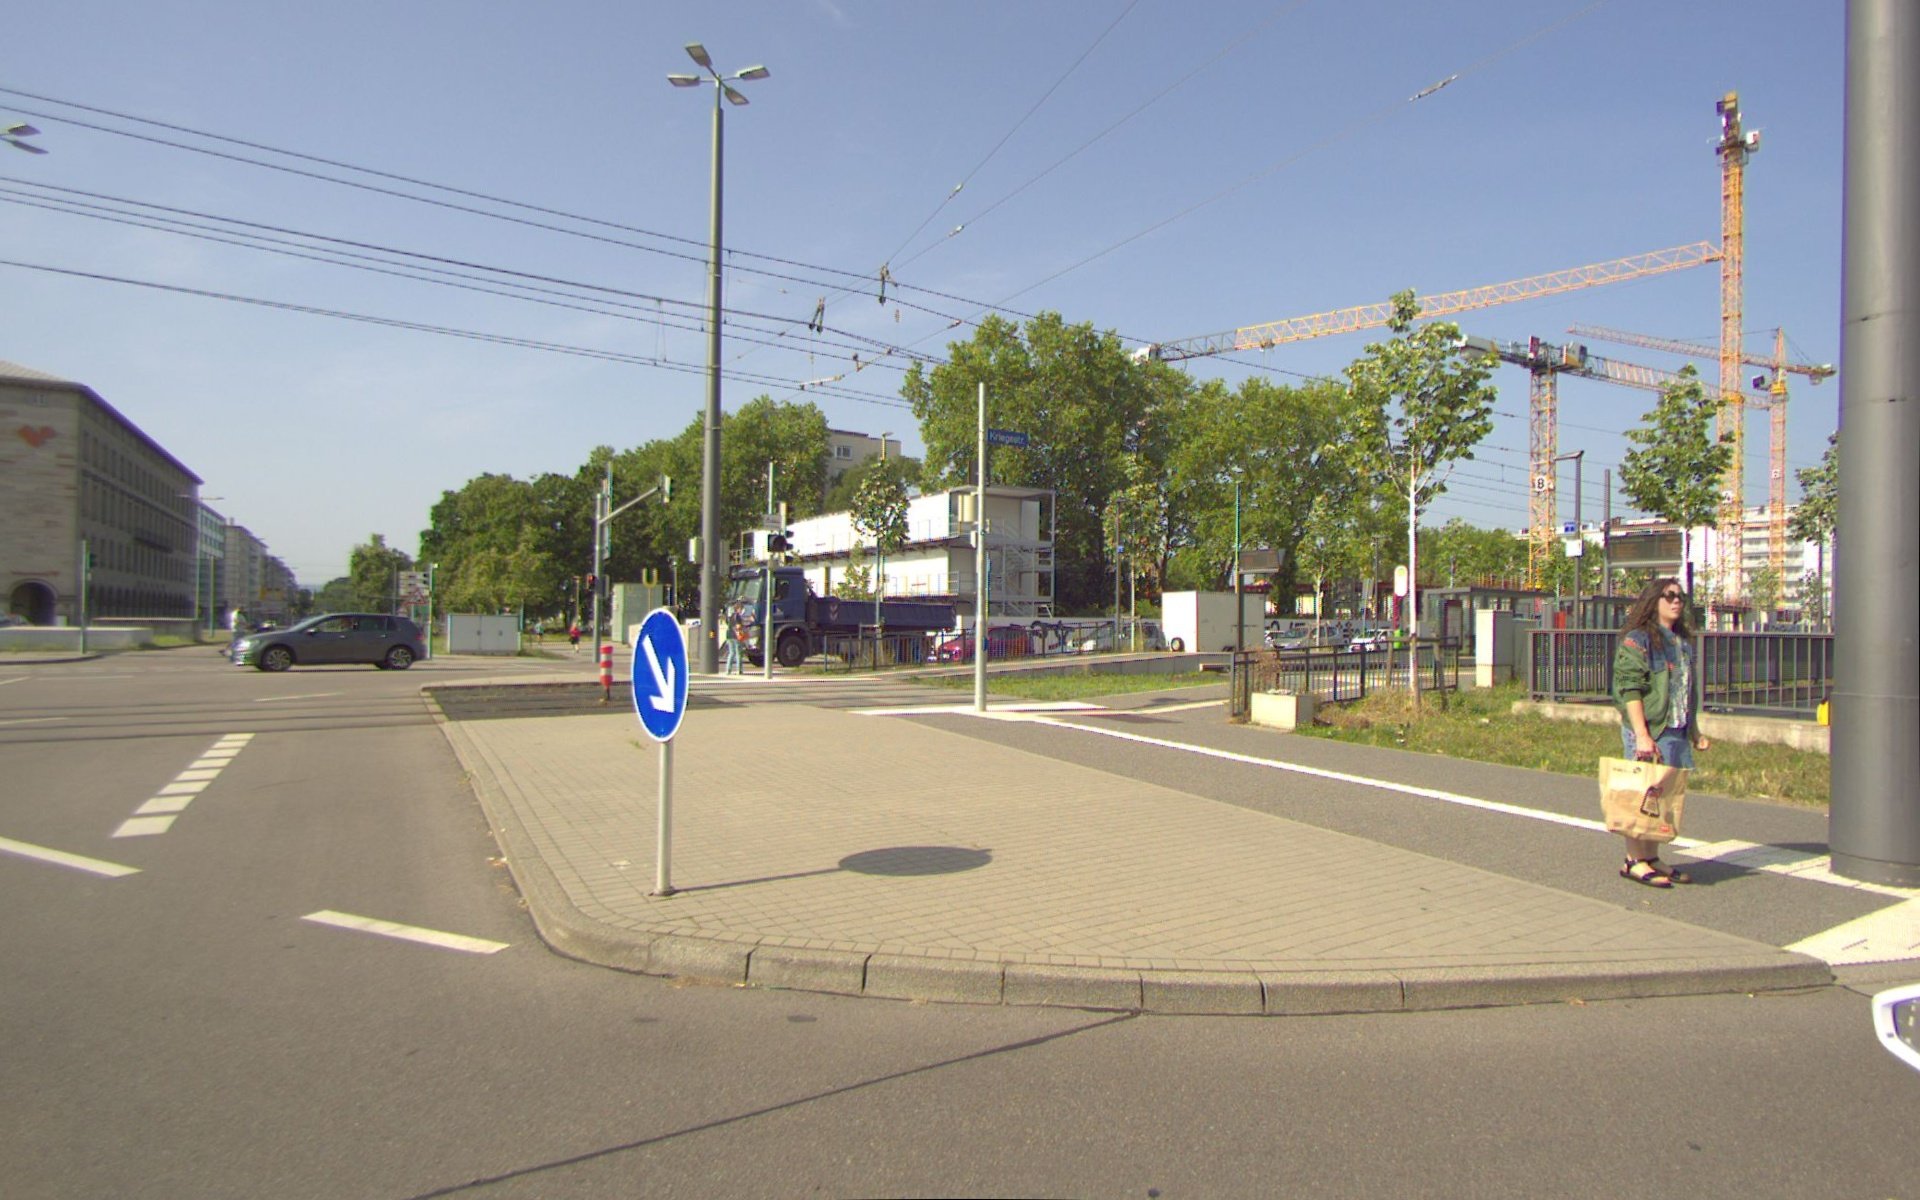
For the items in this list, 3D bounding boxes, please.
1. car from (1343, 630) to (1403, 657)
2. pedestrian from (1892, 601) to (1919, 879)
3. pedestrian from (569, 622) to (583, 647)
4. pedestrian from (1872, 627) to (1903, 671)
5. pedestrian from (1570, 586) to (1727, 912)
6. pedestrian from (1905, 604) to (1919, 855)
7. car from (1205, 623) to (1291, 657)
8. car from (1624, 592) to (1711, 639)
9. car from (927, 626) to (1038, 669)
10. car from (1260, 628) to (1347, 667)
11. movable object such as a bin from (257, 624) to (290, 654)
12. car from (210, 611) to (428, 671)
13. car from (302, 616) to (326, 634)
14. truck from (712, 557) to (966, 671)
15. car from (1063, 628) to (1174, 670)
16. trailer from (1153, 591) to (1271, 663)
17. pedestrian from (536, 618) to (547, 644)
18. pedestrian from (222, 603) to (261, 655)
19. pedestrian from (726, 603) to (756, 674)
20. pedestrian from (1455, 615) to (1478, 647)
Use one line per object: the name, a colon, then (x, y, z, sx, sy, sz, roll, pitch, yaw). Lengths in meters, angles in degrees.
car: (23.744, 2.518, 57.695, 3.400, 1.483, 1.586, 2, -1, -35)
pedestrian: (6.153, 0.849, 6.171, 0.770, 1.672, 0.464, 1, 0, -35)
pedestrian: (-19.713, 1.762, 51.551, 0.532, 1.233, 0.440, 2, 0, -33)
pedestrian: (35.407, 1.870, 38.352, 0.704, 1.640, 0.730, 2, -1, -36)
pedestrian: (3.819, 0.771, 5.565, 0.770, 1.672, 0.464, 1, 0, -35)
pedestrian: (6.828, 0.875, 6.801, 0.770, 1.672, 0.464, 1, 0, -35)
car: (14.430, 2.009, 50.259, 4.574, 1.603, 1.779, 2, -1, -37)
car: (58.190, 1.327, 82.468, 9.145, 3.559, 3.033, 2, -1, -36)
car: (0.817, 1.647, 35.136, 3.667, 1.379, 1.707, 2, -1, -39)
car: (15.853, 2.161, 46.310, 4.109, 1.684, 1.709, 2, -1, -35)
movable object such as a bin: (-24.089, 1.375, 35.242, 0.898, 1.027, 0.561, 2, -1, -32)
car: (-15.937, 0.997, 25.116, 4.391, 1.365, 1.581, 2, -1, -42)
car: (-64.254, 2.493, 99.911, 1.866, 1.741, 3.966, 2, -1, -31)
truck: (-4.143, 0.559, 36.079, 8.815, 3.634, 2.997, 2, -1, -39)
car: (6.118, 1.851, 38.538, 4.362, 1.489, 1.631, 2, -1, -37)
trailer: (10.679, 1.153, 42.371, 4.973, 2.818, 2.030, 2, 0, -36)
pedestrian: (-28.081, 2.091, 67.330, 0.535, 1.731, 0.587, 1, -1, -36)
pedestrian: (-24.860, 1.013, 34.766, 0.995, 1.756, 0.557, 2, -1, -31)
pedestrian: (-5.258, 0.925, 24.119, 0.630, 1.698, 0.370, 1, -1, -19)
pedestrian: (21.544, 1.314, 42.718, 0.587, 1.317, 0.675, 1, -1, -38)
